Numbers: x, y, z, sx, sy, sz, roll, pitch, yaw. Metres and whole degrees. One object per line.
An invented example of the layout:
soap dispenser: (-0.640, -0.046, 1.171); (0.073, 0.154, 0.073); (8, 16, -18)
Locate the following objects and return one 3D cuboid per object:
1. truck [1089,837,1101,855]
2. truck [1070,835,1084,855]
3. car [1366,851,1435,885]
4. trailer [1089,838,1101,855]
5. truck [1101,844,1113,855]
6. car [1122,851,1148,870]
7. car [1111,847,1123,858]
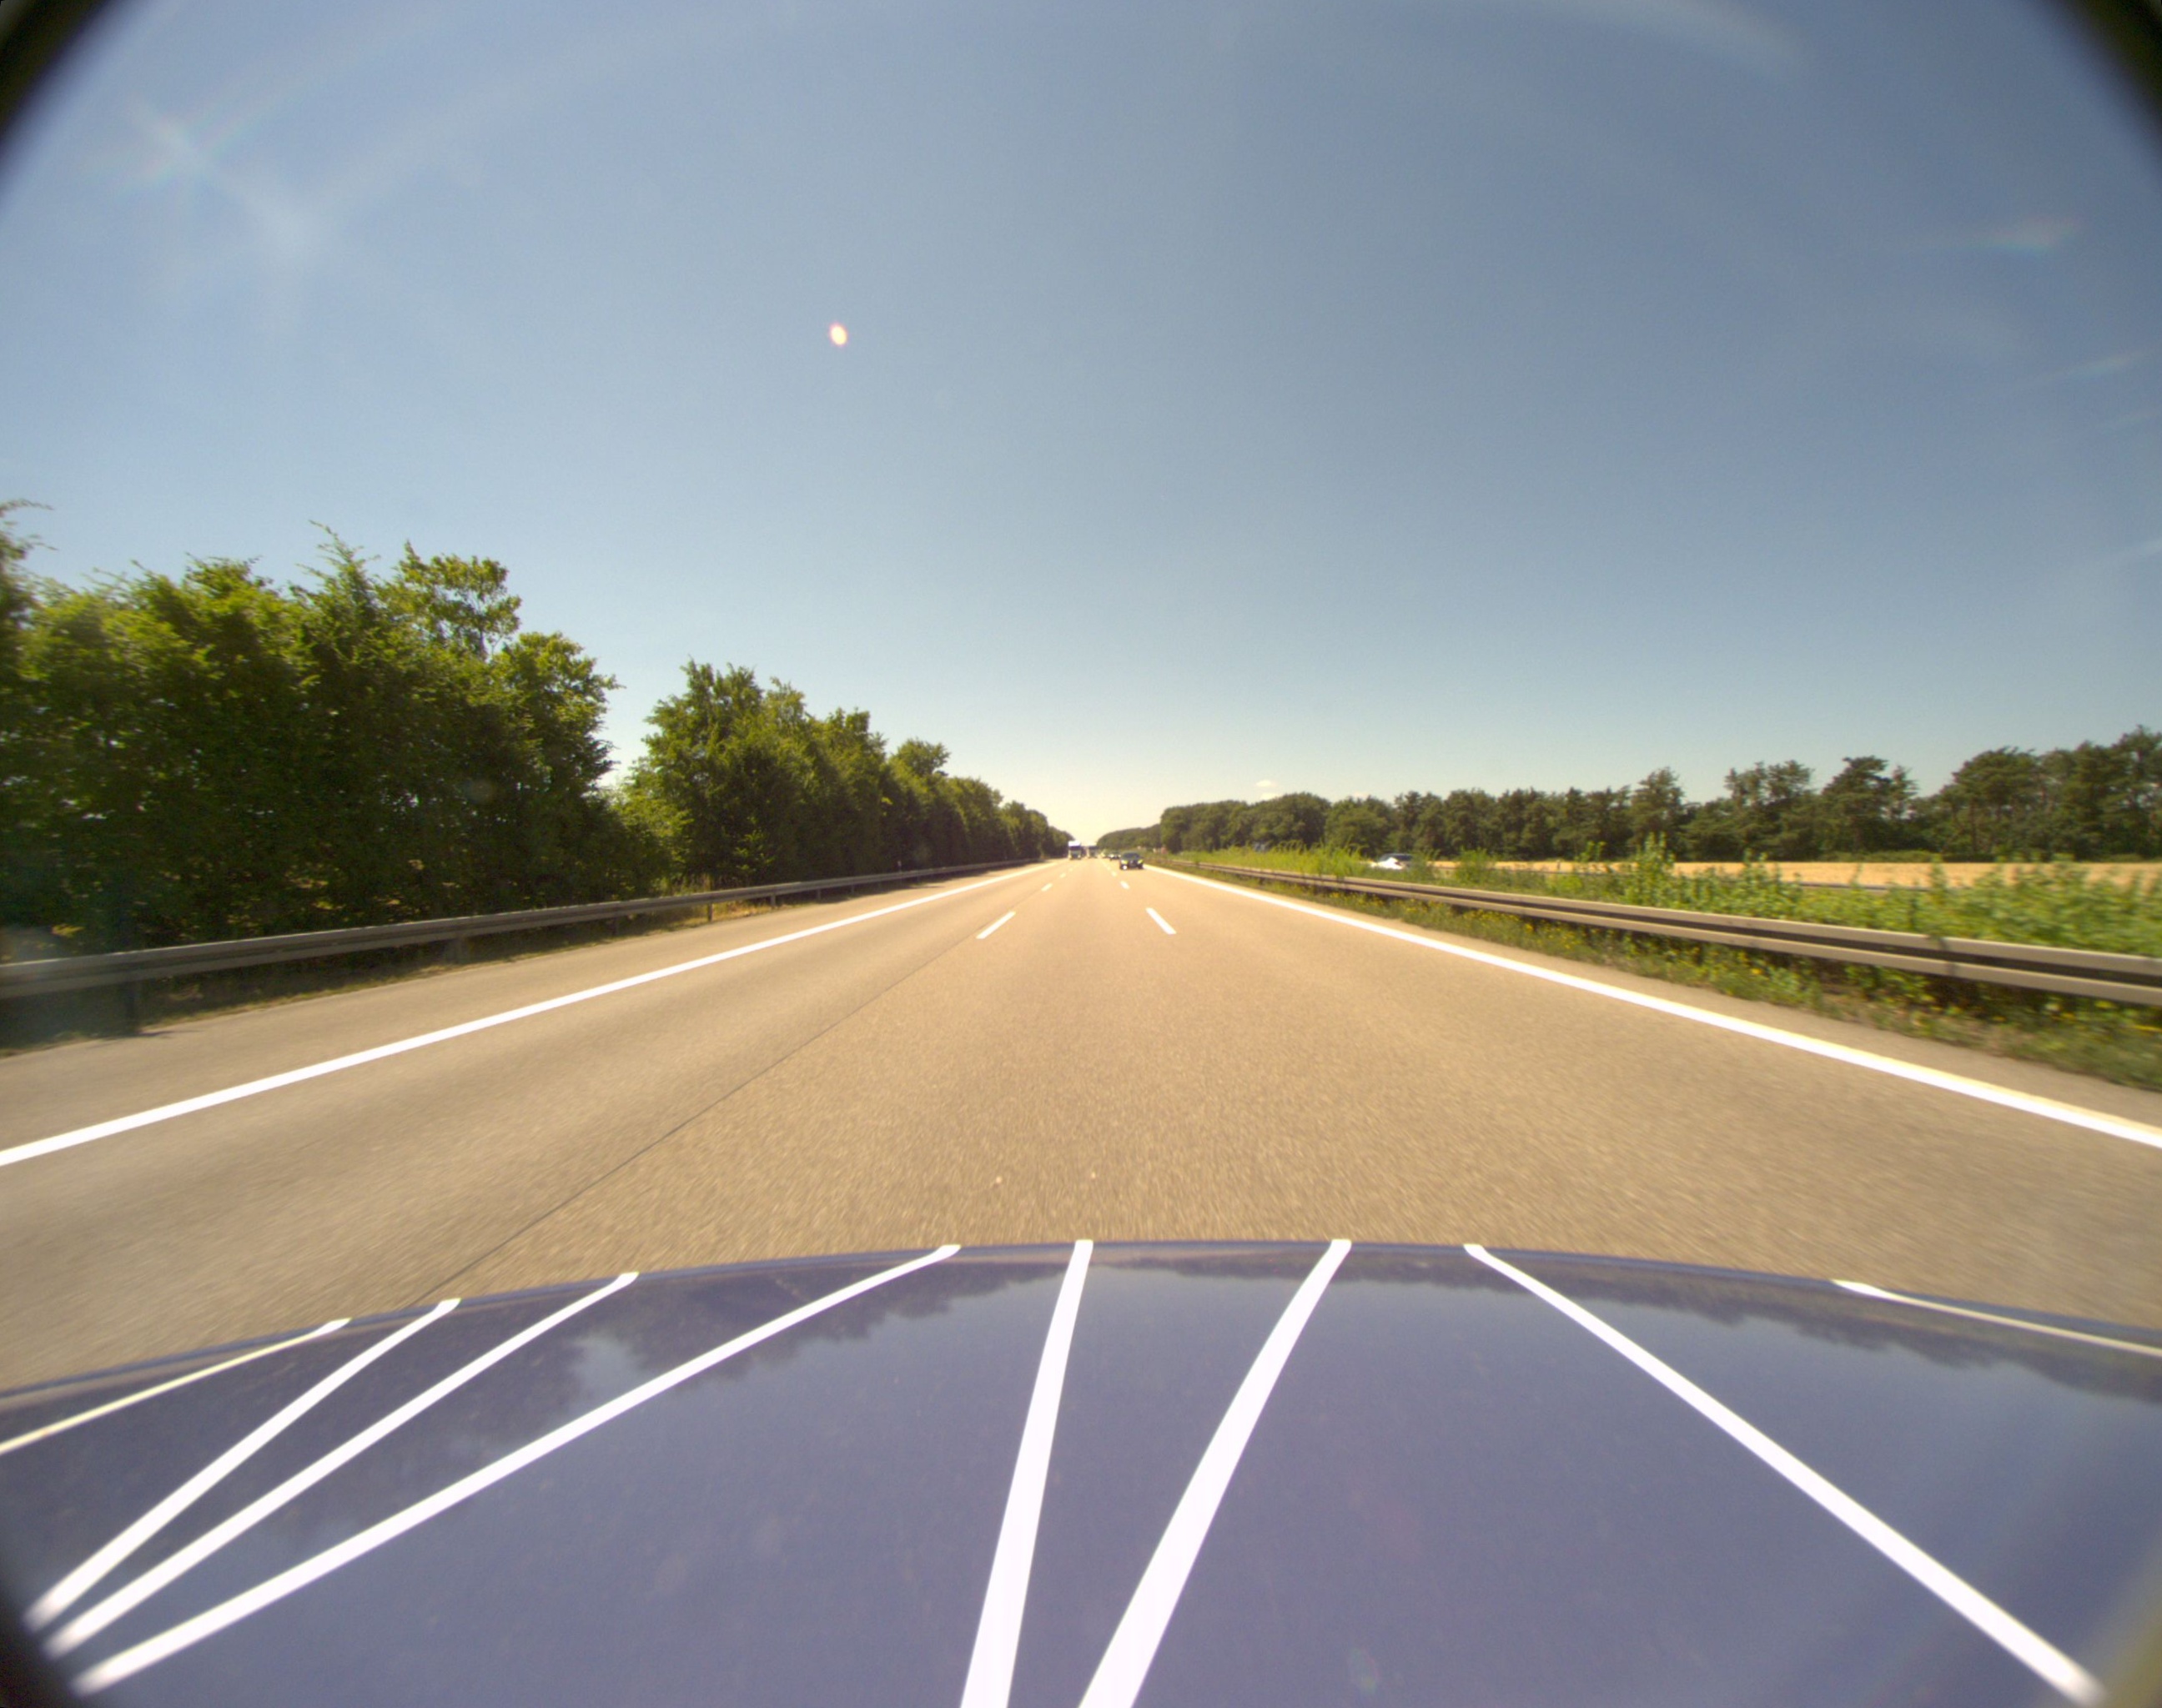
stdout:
truck: (3.516, -2.030, 194.471); (2.863, 4.247, 5.411); (-2, 1, 0)
truck: (-0.899, -1.906, 167.113); (2.863, 4.247, 6.863); (-2, 1, 0)
car: (15.902, 0.665, 38.024); (1.852, 1.610, 3.928); (0, 1, 1)
trailer: (3.564, -2.077, 201.058); (2.863, 4.247, 11.471); (-2, 0, 0)
truck: (6.043, -0.978, 180.031); (2.576, 2.461, 5.614); (-2, 0, 0)
car: (4.419, 0.501, 63.207); (1.811, 1.399, 3.999); (-3, 1, 0)
car: (5.900, -0.241, 125.852); (1.806, 1.774, 4.000); (-1, 1, 1)
